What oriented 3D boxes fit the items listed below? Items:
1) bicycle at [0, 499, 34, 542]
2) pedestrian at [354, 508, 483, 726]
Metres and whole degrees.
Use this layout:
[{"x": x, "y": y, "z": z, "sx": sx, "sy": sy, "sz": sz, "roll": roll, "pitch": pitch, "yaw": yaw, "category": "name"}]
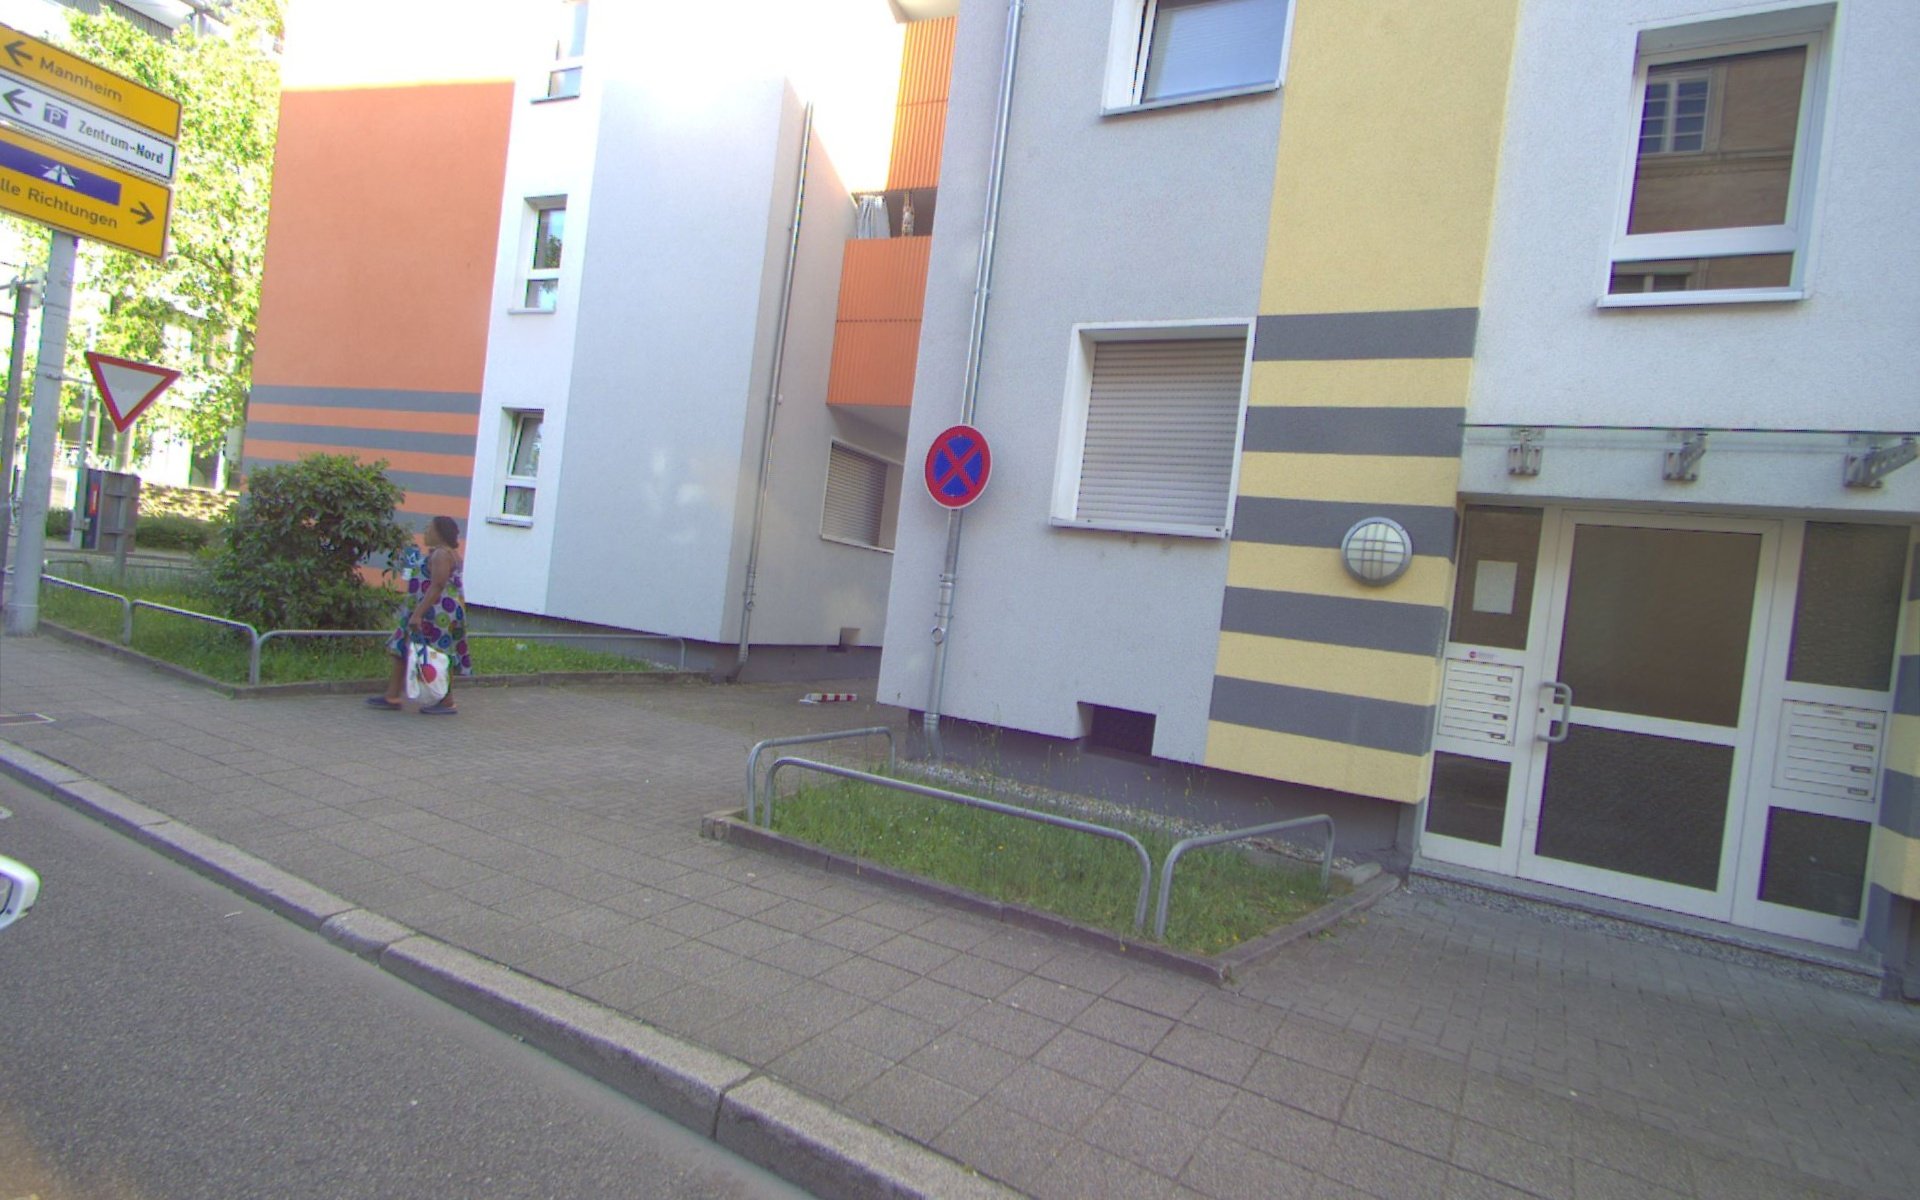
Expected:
[{"x": -26.415, "y": -2.244, "z": 27.279, "sx": 1.883, "sy": 1.062, "sz": 0.463, "roll": 7, "pitch": 1, "yaw": -10, "category": "bicycle"}, {"x": -4.283, "y": 0.113, "z": 7.999, "sx": 0.741, "sy": 1.594, "sz": 0.950, "roll": 5, "pitch": 3, "yaw": -27, "category": "pedestrian"}]
